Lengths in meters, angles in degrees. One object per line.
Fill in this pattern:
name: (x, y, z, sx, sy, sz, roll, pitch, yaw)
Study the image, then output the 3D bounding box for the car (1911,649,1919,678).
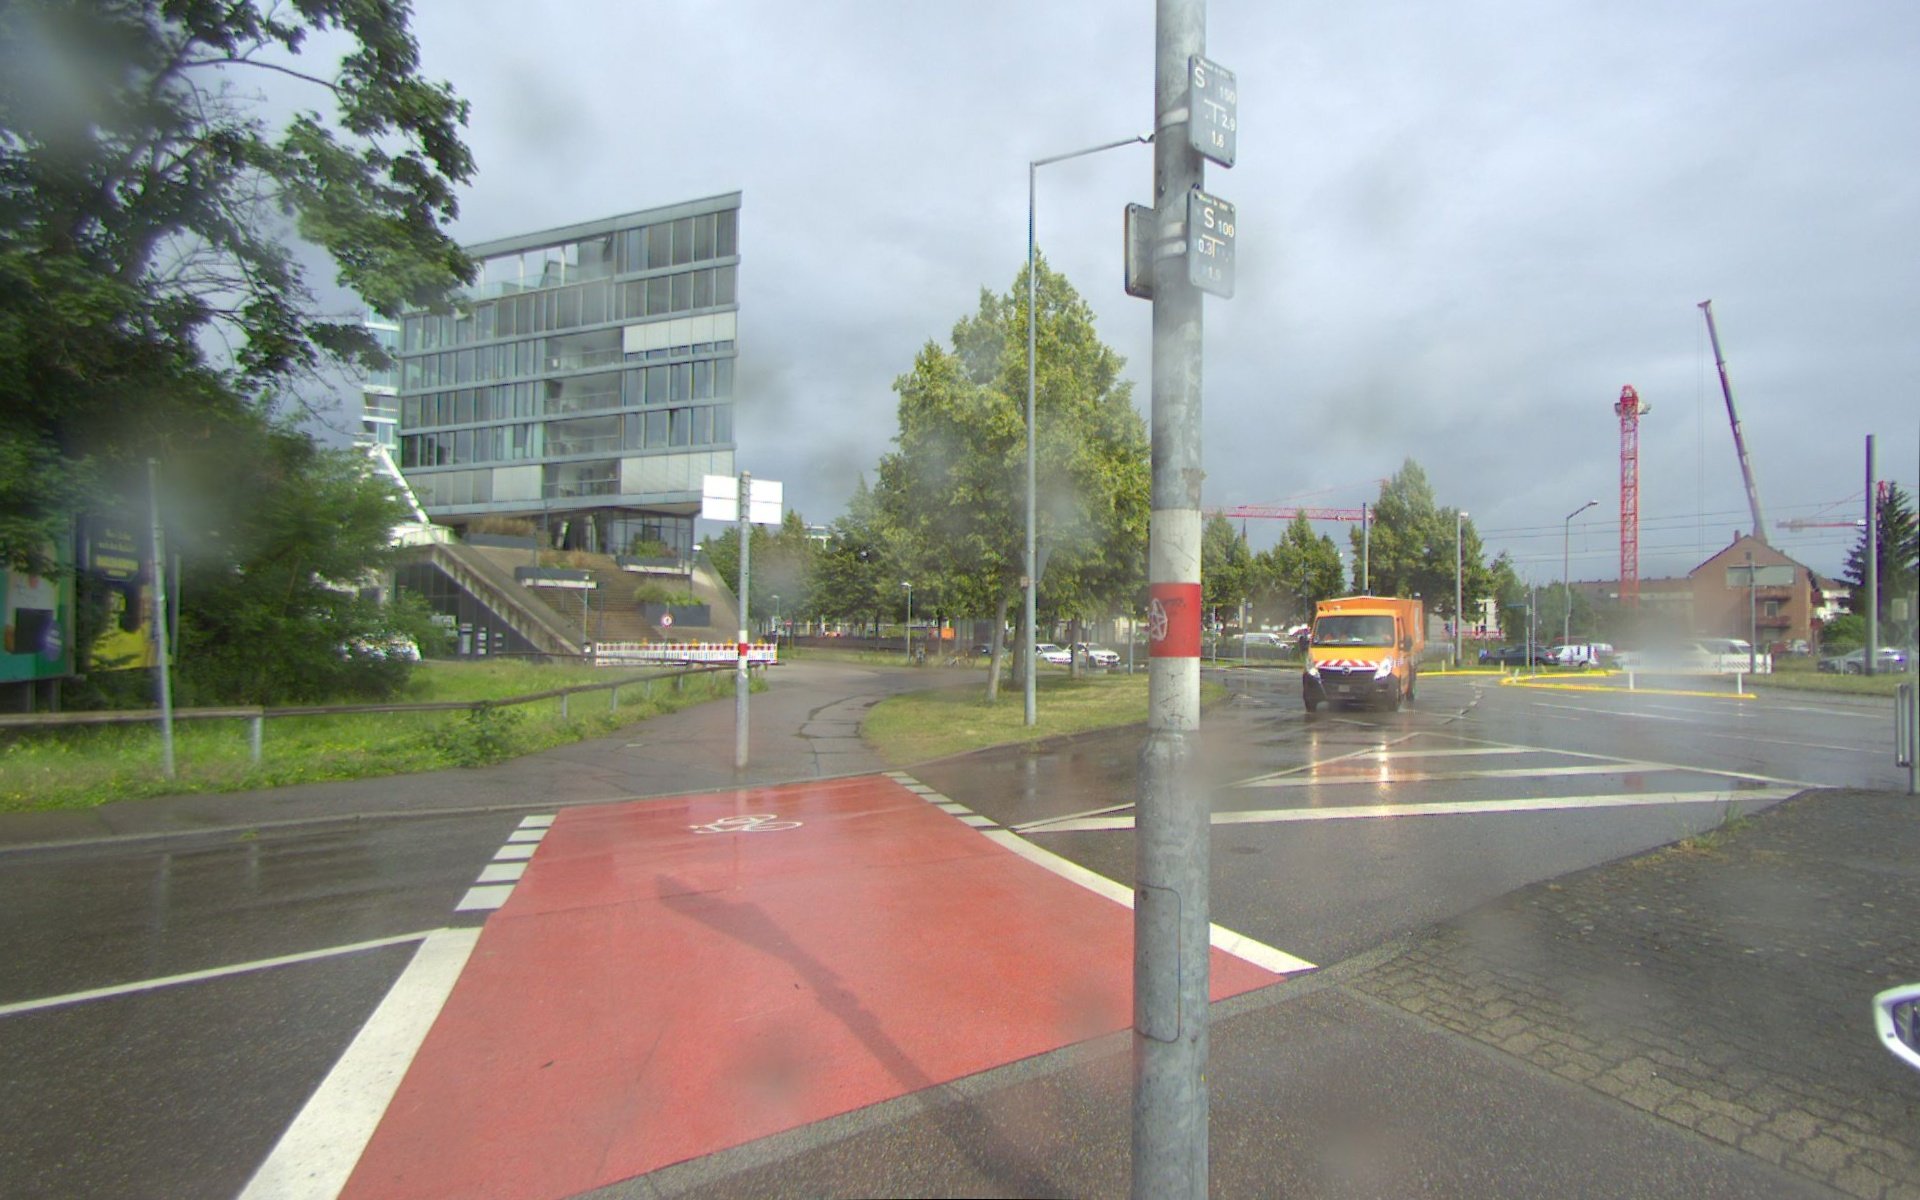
car: (55.463, 3.607, 56.623, 3.957, 1.606, 1.782, 2, -2, -33)

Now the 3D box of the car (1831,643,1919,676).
car: (47.465, 3.049, 51.719, 3.604, 1.581, 1.575, 0, -1, 16)

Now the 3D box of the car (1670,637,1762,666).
car: (65.065, 4.418, 86.635, 2.012, 2.113, 6.237, 2, 0, -19)

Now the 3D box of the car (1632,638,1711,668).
car: (38.931, 2.873, 55.043, 3.439, 1.530, 1.497, 0, -1, 31)

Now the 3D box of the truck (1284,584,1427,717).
truck: (9.821, 1.163, 24.522, 2.417, 2.762, 6.935, -1, -2, 29)

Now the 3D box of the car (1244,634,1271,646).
car: (40.991, 5.474, 138.477, 1.531, 1.581, 3.475, 1, -2, -28)

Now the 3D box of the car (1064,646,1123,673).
car: (8.172, 3.614, 61.636, 1.704, 1.528, 3.878, 1, -2, -27)

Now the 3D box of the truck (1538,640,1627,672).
truck: (51.574, 4.595, 83.397, 2.361, 2.241, 6.073, 2, 0, -19)

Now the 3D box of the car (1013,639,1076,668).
car: (5.043, 3.253, 60.634, 1.841, 1.693, 4.444, 1, -3, -25)

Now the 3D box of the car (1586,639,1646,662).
car: (57.218, 4.384, 87.633, 1.903, 1.723, 3.976, 2, 0, -24)

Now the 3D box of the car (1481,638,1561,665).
car: (33.307, 3.029, 59.678, 3.936, 1.537, 1.796, -1, -2, 37)

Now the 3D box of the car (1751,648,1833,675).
car: (57.500, 4.237, 69.479, 3.919, 1.706, 2.001, 0, -2, 5)

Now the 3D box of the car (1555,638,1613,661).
car: (54.578, 4.291, 87.918, 1.835, 1.722, 3.970, 3, 0, -28)
